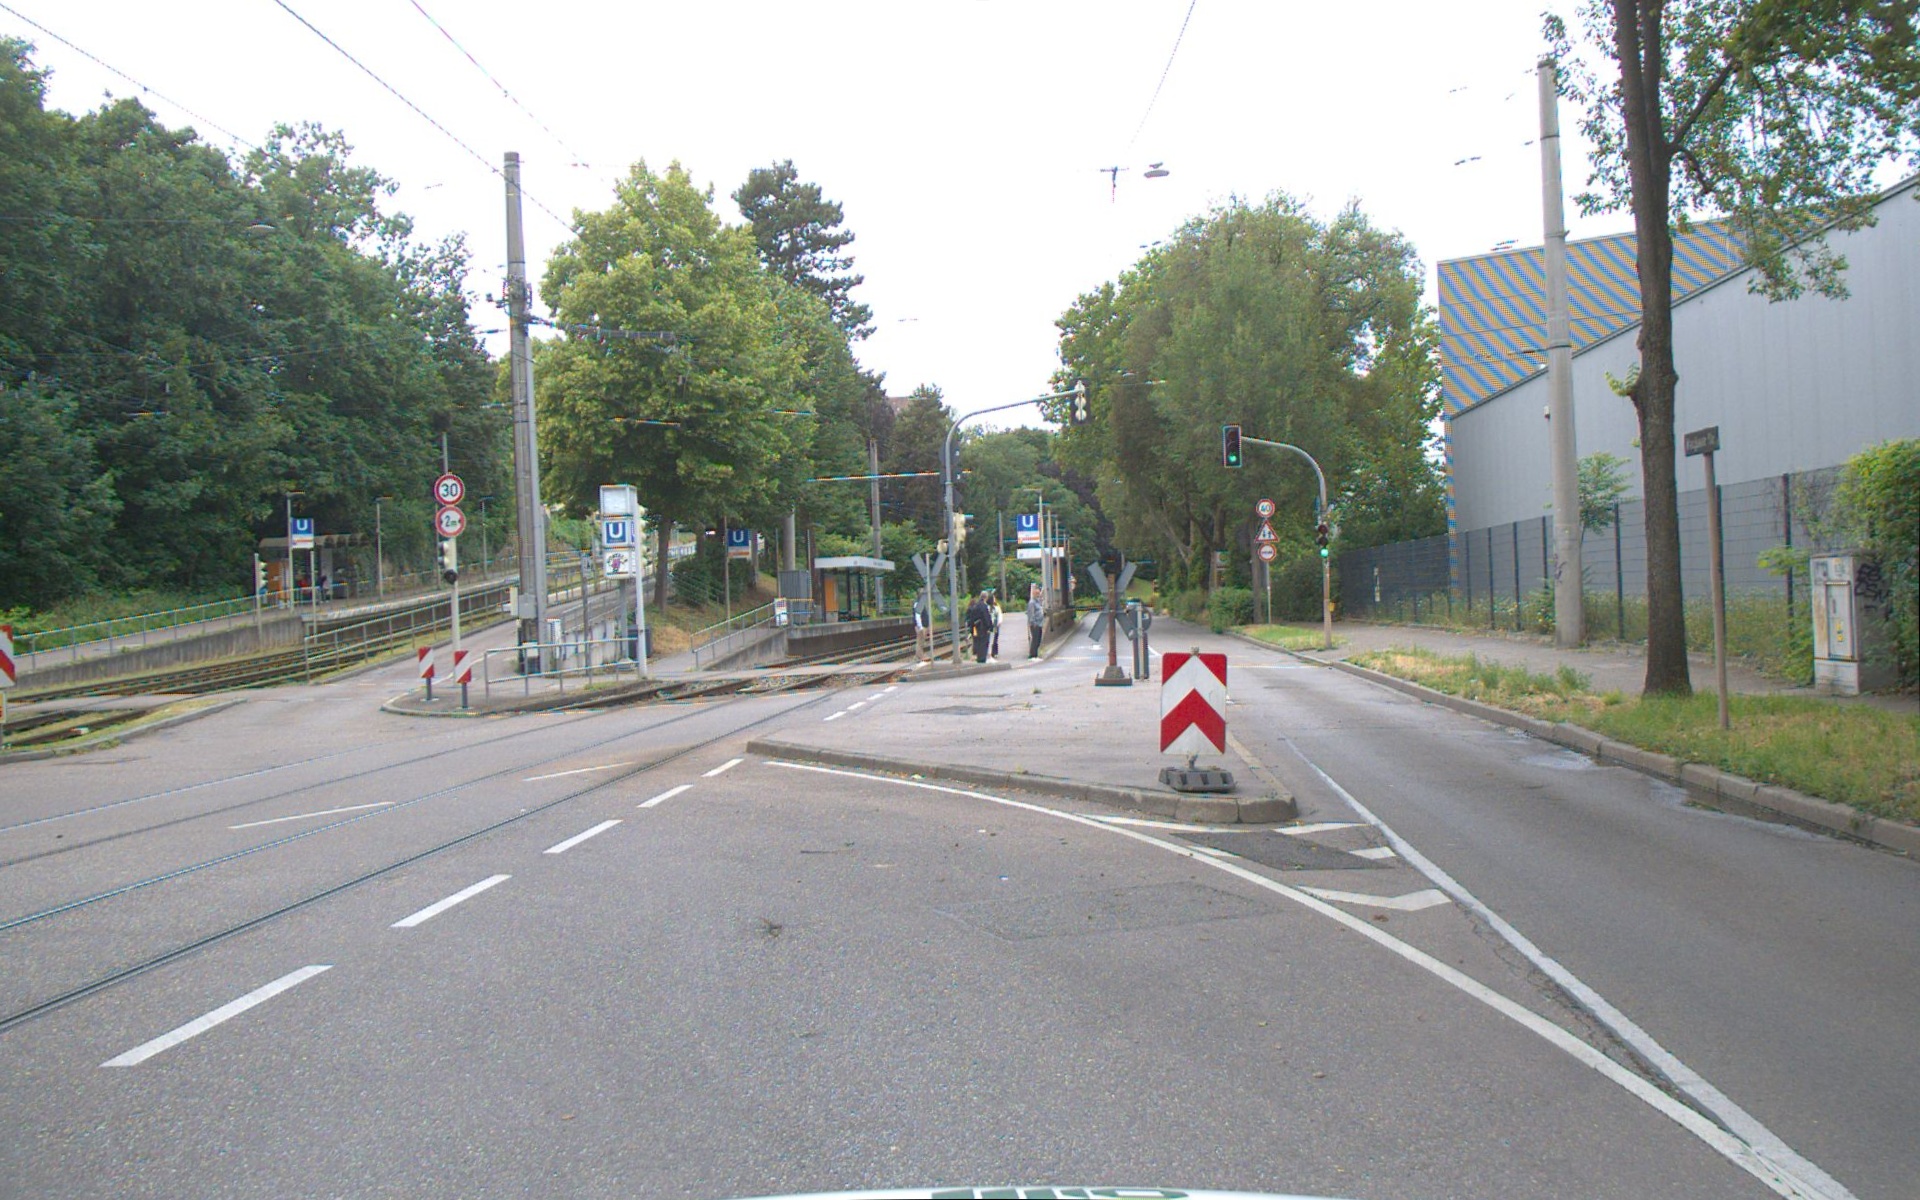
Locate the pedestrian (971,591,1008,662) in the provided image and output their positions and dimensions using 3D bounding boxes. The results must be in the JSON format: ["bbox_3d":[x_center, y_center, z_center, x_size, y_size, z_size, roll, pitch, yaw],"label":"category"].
[{"bbox_3d":[0.714,0.632,39.882,0.665,1.694,0.738,0,0,20],"label":"pedestrian"}]

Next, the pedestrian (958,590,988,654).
[{"bbox_3d":[0.339,0.582,44.134,0.721,1.694,0.681,0,0,-6],"label":"pedestrian"}]

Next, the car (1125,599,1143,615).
[{"bbox_3d":[18.033,0.683,171.737,1.707,1.627,4.002,0,0,4],"label":"car"}]

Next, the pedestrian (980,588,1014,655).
[{"bbox_3d":[0.955,0.540,42.437,0.665,1.694,0.738,0,0,19],"label":"pedestrian"}]

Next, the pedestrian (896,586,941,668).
[{"bbox_3d":[-0.949,0.619,37.969,0.795,1.853,0.663,1,0,-33],"label":"pedestrian"}]

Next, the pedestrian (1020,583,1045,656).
[{"bbox_3d":[1.799,0.484,41.136,0.538,1.789,0.738,0,0,9],"label":"pedestrian"}]

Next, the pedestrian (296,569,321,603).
[{"bbox_3d":[-26.659,-0.580,67.699,0.756,1.349,0.787,0,2,-3],"label":"pedestrian"}]

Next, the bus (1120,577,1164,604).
[{"bbox_3d":[25.945,-1.340,235.548,2.685,3.689,8.919,0,0,32],"label":"bus"}]

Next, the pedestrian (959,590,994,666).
[{"bbox_3d":[0.382,0.620,37.460,0.719,1.694,0.682,0,0,6],"label":"pedestrian"}]

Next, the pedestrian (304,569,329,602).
[{"bbox_3d":[-26.715,-0.603,68.665,0.756,1.349,0.786,0,0,-3],"label":"pedestrian"}]
